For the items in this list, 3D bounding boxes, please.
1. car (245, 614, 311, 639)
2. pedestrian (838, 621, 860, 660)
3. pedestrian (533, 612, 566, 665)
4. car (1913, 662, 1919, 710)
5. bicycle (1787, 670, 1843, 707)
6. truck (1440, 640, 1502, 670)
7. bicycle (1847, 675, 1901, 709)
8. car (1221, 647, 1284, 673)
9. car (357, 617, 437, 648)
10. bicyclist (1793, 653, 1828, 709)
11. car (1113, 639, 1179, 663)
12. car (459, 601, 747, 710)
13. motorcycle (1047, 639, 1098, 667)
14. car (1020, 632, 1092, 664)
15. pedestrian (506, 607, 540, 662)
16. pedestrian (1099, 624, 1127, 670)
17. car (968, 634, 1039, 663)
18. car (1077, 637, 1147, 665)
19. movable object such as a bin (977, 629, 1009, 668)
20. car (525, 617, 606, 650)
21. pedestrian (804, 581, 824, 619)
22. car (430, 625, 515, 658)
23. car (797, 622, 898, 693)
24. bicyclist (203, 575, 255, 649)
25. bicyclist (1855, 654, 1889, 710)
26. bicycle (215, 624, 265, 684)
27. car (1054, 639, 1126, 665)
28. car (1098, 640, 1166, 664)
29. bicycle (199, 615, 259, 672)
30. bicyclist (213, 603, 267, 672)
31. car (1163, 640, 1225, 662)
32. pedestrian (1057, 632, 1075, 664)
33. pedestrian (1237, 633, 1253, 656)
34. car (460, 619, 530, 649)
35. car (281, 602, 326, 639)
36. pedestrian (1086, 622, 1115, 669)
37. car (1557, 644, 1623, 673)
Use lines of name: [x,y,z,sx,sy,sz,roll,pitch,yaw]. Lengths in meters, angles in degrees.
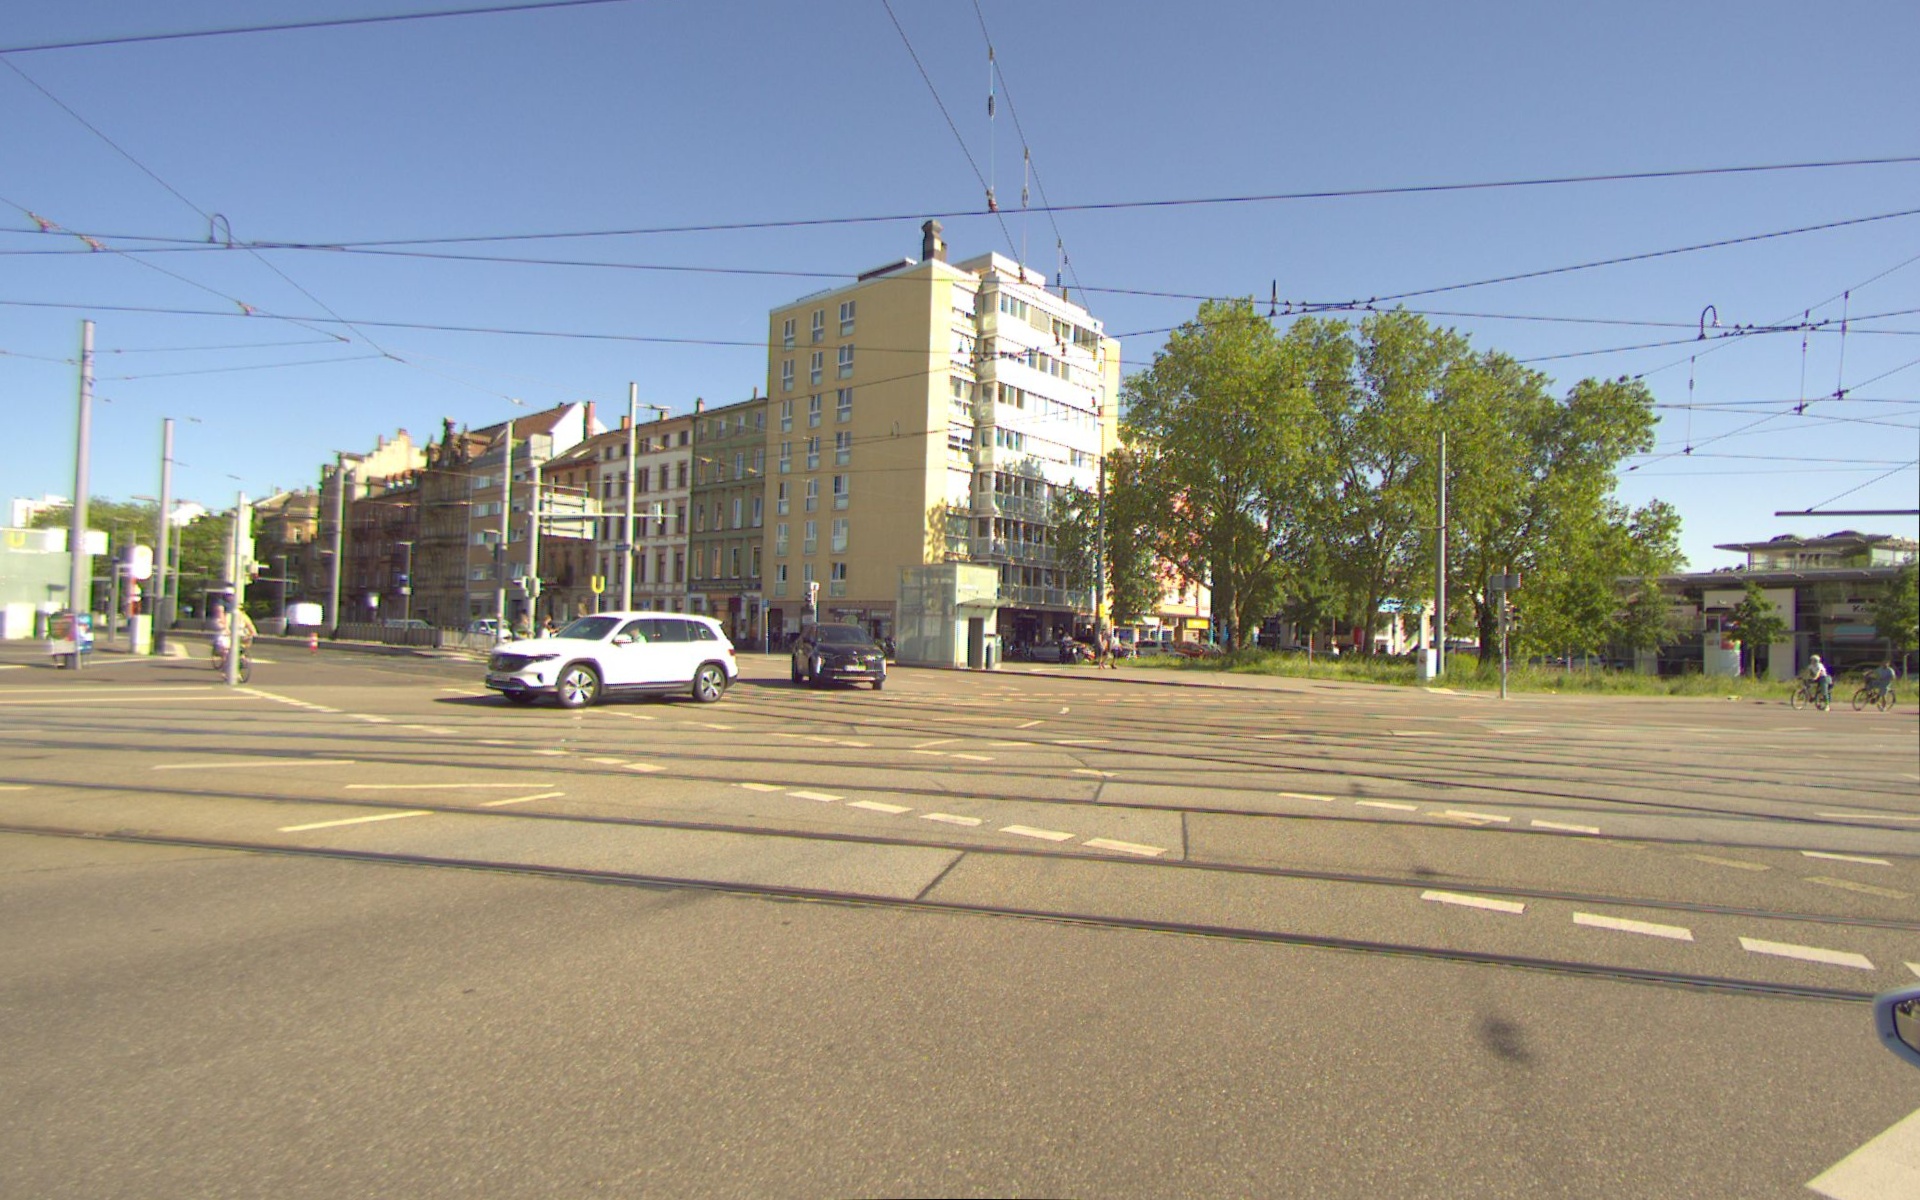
car: [-39.949,1.547,58.816,3.934,1.378,1.908,1,-2,36]
pedestrian: [-5.104,1.861,46.235,0.710,1.728,0.608,3,0,-38]
pedestrian: [-14.496,1.350,35.495,0.979,1.823,0.988,3,0,-21]
car: [31.756,2.712,30.983,3.906,1.498,1.650,3,-3,-16]
bicycle: [28.095,2.900,33.011,1.725,1.199,0.538,1,-2,-16]
truck: [43.330,4.651,85.247,1.977,2.250,4.183,3,-1,-29]
bicycle: [29.906,2.996,32.867,1.627,1.088,0.538,1,-2,-16]
car: [20.578,4.213,70.758,1.982,1.651,3.817,5,-3,-37]
car: [-27.344,1.554,48.769,3.934,1.378,1.908,1,-2,36]
bicyclist: [27.918,2.651,32.964,0.667,1.766,0.574,1,0,-15]
car: [12.634,3.462,68.308,3.935,1.518,1.993,0,-2,36]
car: [-6.184,0.965,17.937,1.969,1.662,4.554,1,-2,33]
motorcycle: [5.652,2.671,50.838,1.272,1.192,2.954,3,-1,-22]
car: [5.829,2.896,61.136,3.935,1.830,1.993,0,-2,36]
pedestrian: [-15.932,1.252,36.635,0.982,1.928,0.986,3,0,-29]
pedestrian: [7.004,2.160,46.041,0.863,2.056,0.846,3,-1,-42]
car: [2.475,2.795,58.149,3.944,1.518,1.733,0,-2,44]
car: [9.688,3.226,64.065,3.935,1.585,1.993,0,-2,36]
movable object such as a bin: [1.432,2.116,43.924,0.976,1.656,0.933,2,-1,40]
car: [-18.455,1.566,46.883,4.537,1.346,1.786,1,-3,44]
pedestrian: [-6.916,-0.005,47.461,0.610,1.728,0.709,3,0,-37]
car: [-22.893,1.919,47.098,4.529,1.346,1.790,1,-2,39]
car: [-3.014,1.428,26.077,2.010,1.597,4.618,3,-2,-13]
bicyclist: [-17.272,0.288,23.744,0.782,1.697,0.757,0,-2,38]
bicyclist: [29.808,2.664,32.830,0.591,1.766,0.574,1,0,-16]
bicycle: [-14.441,1.066,20.126,0.611,1.120,1.704,4,-3,-41]
car: [8.024,3.207,62.245,3.935,1.407,1.993,0,-2,36]
car: [11.358,3.429,66.460,3.935,1.407,1.993,0,-2,36]
bicycle: [-17.222,1.018,23.648,1.934,1.273,0.613,0,-3,39]
bicyclist: [-14.452,0.754,20.151,0.754,1.340,0.785,3,-2,-42]
car: [17.100,3.713,73.549,3.935,1.518,1.993,0,-2,36]
pedestrian: [5.580,2.524,52.881,0.745,1.642,0.653,3,0,22]
pedestrian: [26.377,4.143,92.881,1.089,2.040,1.175,2,0,33]
car: [-24.149,1.757,52.113,4.537,1.346,1.786,1,-3,44]
car: [-60.765,1.917,92.955,4.846,3.148,1.991,2,-1,39]
pedestrian: [6.346,2.050,45.455,0.863,2.056,0.846,3,-1,-42]
car: [50.770,4.672,81.005,1.981,2.040,3.959,3,-1,-36]
